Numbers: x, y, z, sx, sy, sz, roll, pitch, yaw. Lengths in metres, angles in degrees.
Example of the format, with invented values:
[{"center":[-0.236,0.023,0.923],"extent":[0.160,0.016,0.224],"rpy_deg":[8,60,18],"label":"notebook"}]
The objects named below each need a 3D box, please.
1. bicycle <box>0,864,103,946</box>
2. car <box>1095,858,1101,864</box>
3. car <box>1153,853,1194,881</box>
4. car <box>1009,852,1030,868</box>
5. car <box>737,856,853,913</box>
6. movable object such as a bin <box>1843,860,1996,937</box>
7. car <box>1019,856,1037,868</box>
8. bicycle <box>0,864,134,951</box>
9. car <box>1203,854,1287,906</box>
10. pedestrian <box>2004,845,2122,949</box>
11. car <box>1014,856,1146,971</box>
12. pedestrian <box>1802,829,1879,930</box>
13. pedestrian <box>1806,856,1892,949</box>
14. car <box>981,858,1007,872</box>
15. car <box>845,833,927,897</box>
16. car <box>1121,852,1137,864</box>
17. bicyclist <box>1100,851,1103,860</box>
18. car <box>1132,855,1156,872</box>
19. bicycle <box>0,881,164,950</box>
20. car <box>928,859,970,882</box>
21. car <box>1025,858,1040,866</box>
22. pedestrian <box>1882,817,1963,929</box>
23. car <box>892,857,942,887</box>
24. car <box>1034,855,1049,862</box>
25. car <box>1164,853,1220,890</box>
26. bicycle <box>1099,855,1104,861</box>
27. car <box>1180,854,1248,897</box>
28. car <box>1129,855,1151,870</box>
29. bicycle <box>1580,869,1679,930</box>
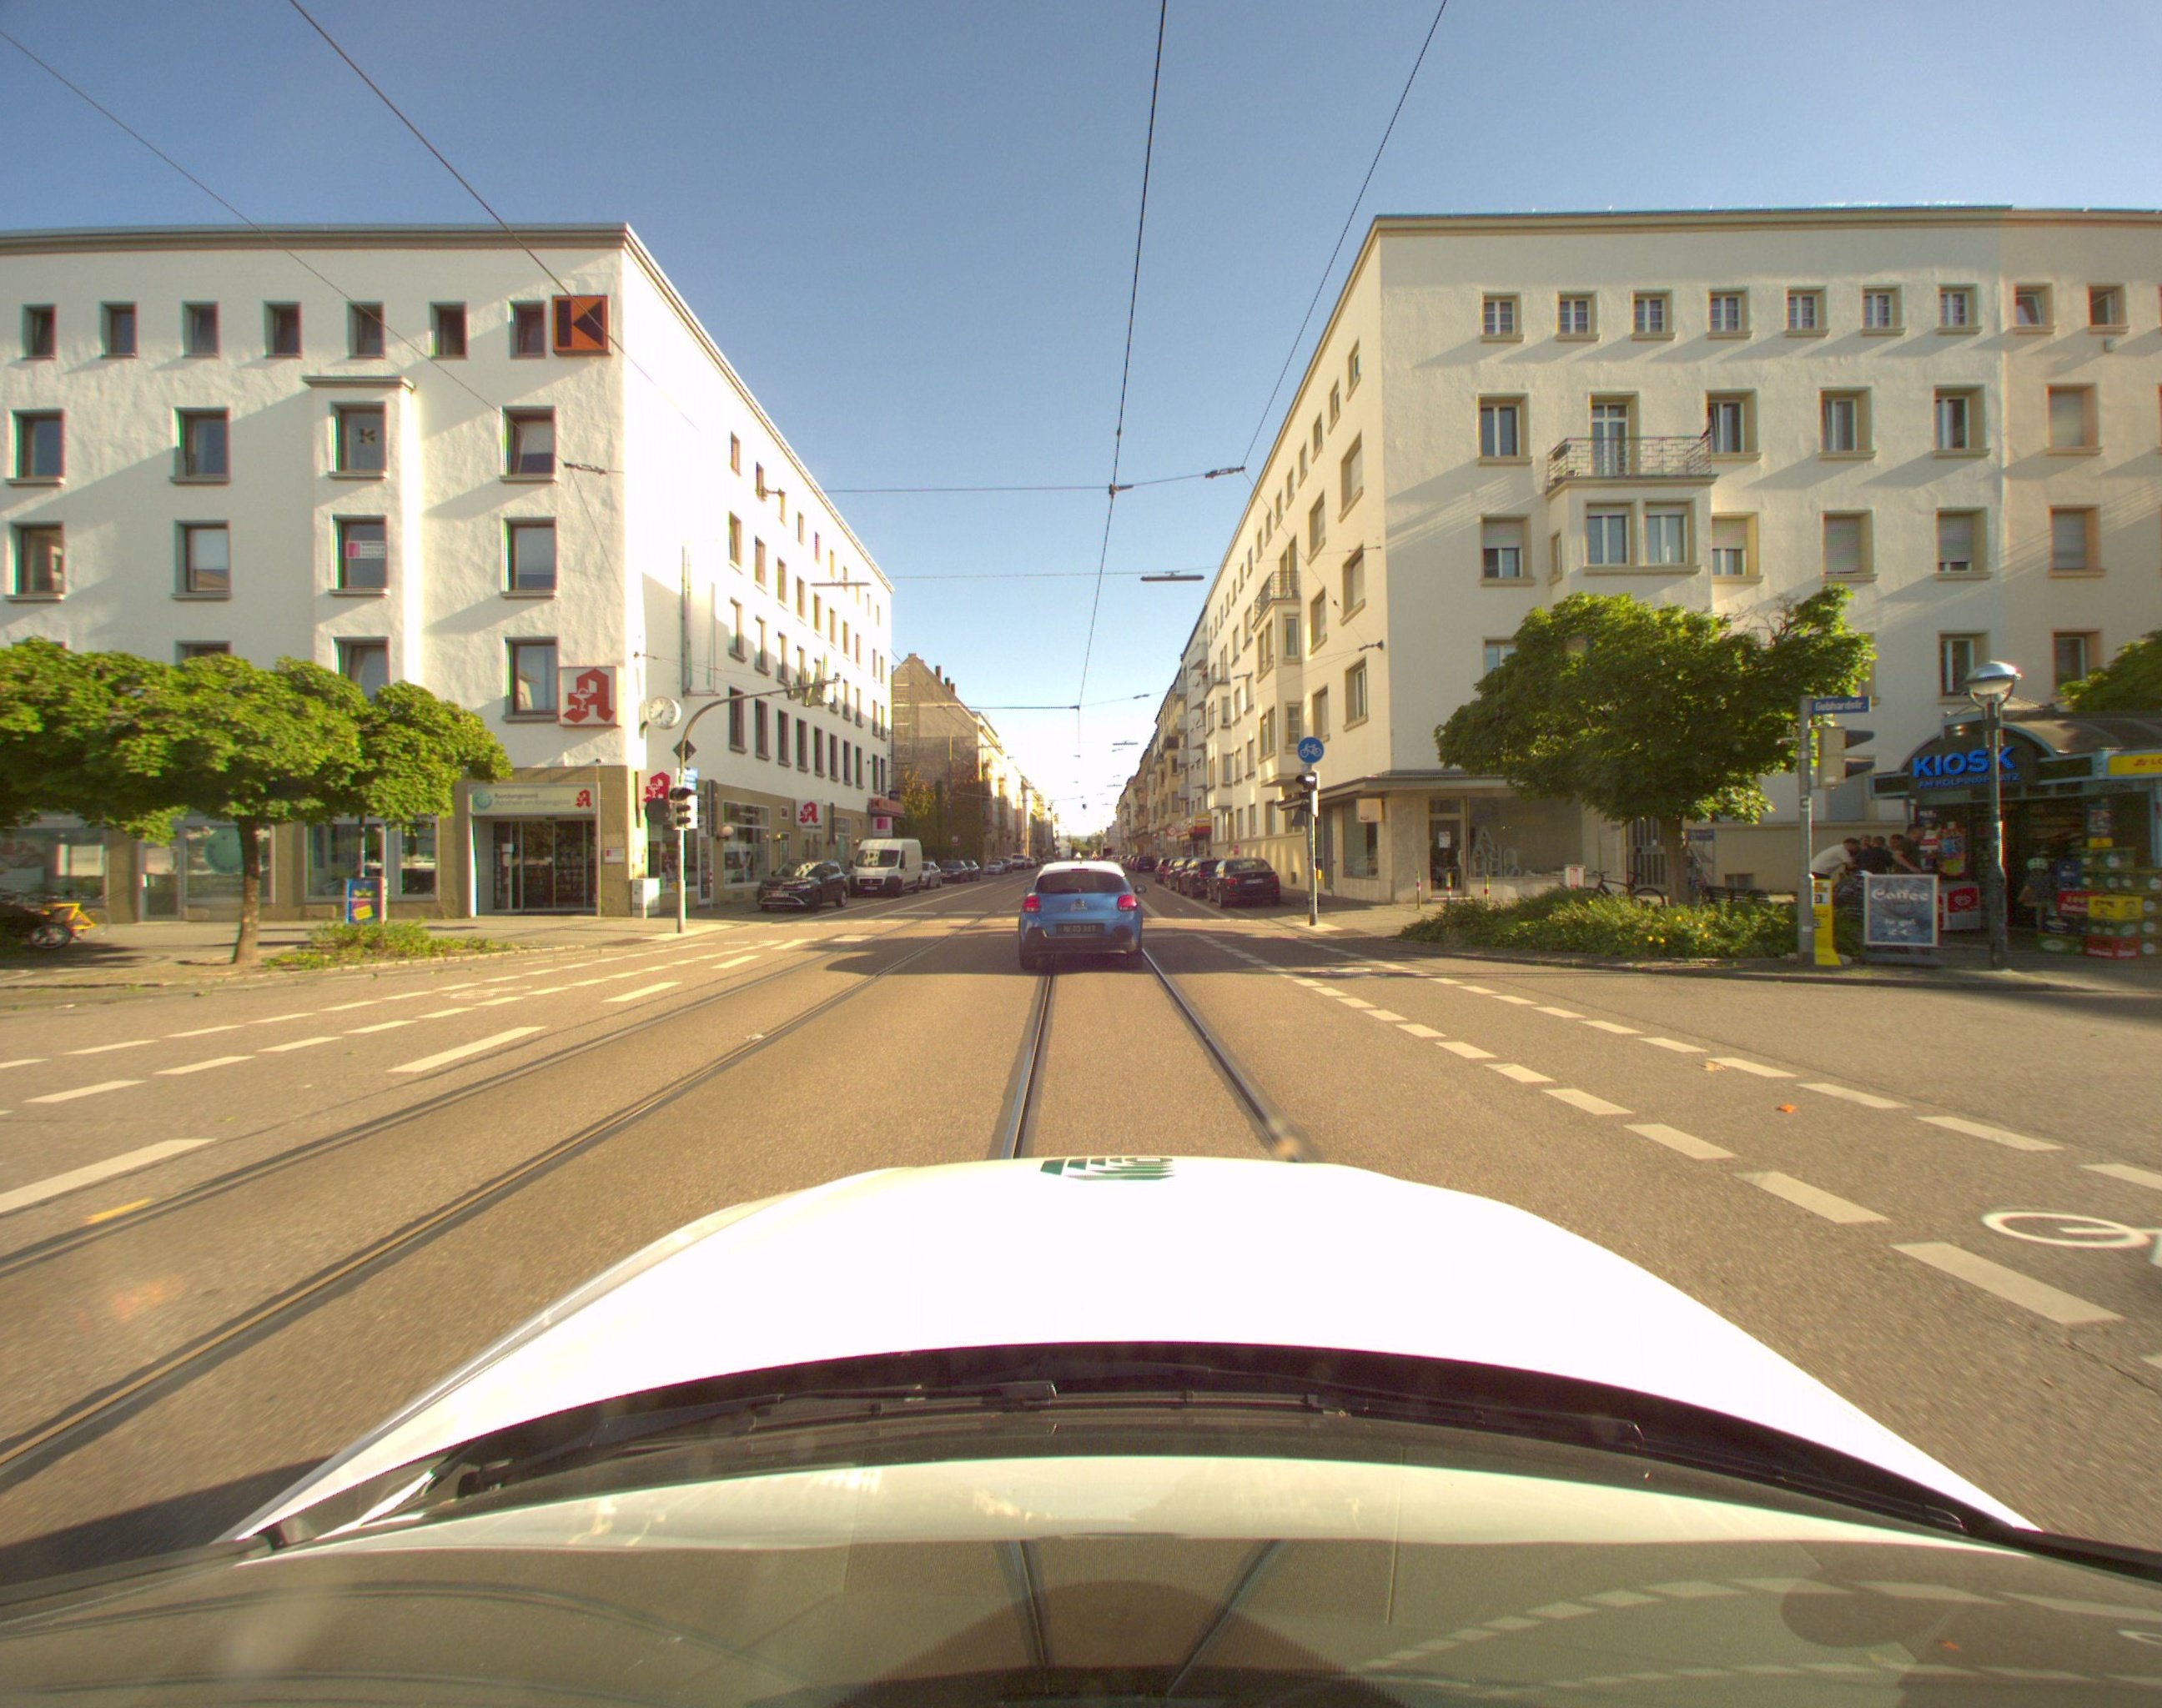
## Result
[{"center":[-21.600,1.024,16.419],"extent":[0.616,1.607,2.619],"rpy_deg":[-1,0,-1],"label":"bicycle"},{"center":[5.229,2.057,252.954],"extent":[1.986,1.772,4.001],"rpy_deg":[-1,0,1],"label":"car"},{"center":[5.143,0.730,45.836],"extent":[1.986,1.464,4.002],"rpy_deg":[-1,0,2],"label":"car"},{"center":[-7.508,0.753,99.989],"extent":[1.998,2.014,4.693],"rpy_deg":[0,-1,3],"label":"car"},{"center":[-8.786,0.887,25.454],"extent":[1.987,1.569,4.402],"rpy_deg":[2,-1,0],"label":"car"},{"center":[13.352,0.683,13.026],"extent":[1.194,1.153,1.218],"rpy_deg":[-1,0,2],"label":"movable object such as a bin"},{"center":[-7.229,1.065,110.659],"extent":[1.947,1.552,3.941],"rpy_deg":[0,-1,3],"label":"car"},{"center":[-20.911,1.047,16.303],"extent":[0.615,1.607,2.624],"rpy_deg":[-1,1,5],"label":"bicycle"},{"center":[5.027,0.759,25.467],"extent":[1.902,1.464,4.002],"rpy_deg":[-1,0,2],"label":"car"},{"center":[14.036,0.592,11.662],"extent":[0.727,1.409,0.755],"rpy_deg":[-1,3,1],"label":"pedestrian"},{"center":[0.023,0.782,12.500],"extent":[1.722,1.482,3.827],"rpy_deg":[0,0,1],"label":"car"},{"center":[14.197,0.464,15.238],"extent":[0.781,1.839,0.679],"rpy_deg":[-1,0,4],"label":"pedestrian"},{"center":[11.294,0.689,11.997],"extent":[0.733,1.316,0.631],"rpy_deg":[-1,-1,24],"label":"pedestrian"},{"center":[-8.163,1.024,76.320],"extent":[1.987,1.325,3.922],"rpy_deg":[0,-1,0],"label":"car"},{"center":[-8.425,0.447,35.816],"extent":[2.079,2.542,6.204],"rpy_deg":[0,0,0],"label":"car"},{"center":[6.233,0.544,106.079],"extent":[1.986,1.464,4.002],"rpy_deg":[-1,0,2],"label":"car"},{"center":[4.797,0.292,190.993],"extent":[0.805,2.014,0.924],"rpy_deg":[0,-1,6],"label":"bicyclist"},{"center":[5.779,0.822,74.931],"extent":[1.986,1.464,4.506],"rpy_deg":[-1,0,2],"label":"car"},{"center":[-20.187,1.183,16.269],"extent":[0.615,1.190,2.623],"rpy_deg":[-1,0,4],"label":"bicycle"},{"center":[-8.239,1.022,51.180],"extent":[1.987,1.398,4.156],"rpy_deg":[0,-1,0],"label":"car"},{"center":[-7.608,1.243,127.370],"extent":[1.986,1.156,4.002],"rpy_deg":[-1,0,2],"label":"car"},{"center":[14.249,0.317,13.808],"extent":[0.650,1.839,0.660],"rpy_deg":[-1,0,4],"label":"pedestrian"},{"center":[-8.492,0.939,42.385],"extent":[1.882,1.496,3.561],"rpy_deg":[0,-1,0],"label":"car"},{"center":[-7.592,0.871,157.899],"extent":[1.981,1.156,4.527],"rpy_deg":[-1,0,10],"label":"car"},{"center":[4.800,0.742,35.770],"extent":[1.986,1.501,4.002],"rpy_deg":[-1,0,2],"label":"car"},{"center":[4.815,0.865,190.841],"extent":[0.915,1.389,3.135],"rpy_deg":[-1,0,4],"label":"bicycle"},{"center":[4.914,0.766,30.641],"extent":[1.986,1.464,4.002],"rpy_deg":[-1,0,2],"label":"car"},{"center":[5.968,0.886,82.635],"extent":[1.986,1.464,4.002],"rpy_deg":[-1,0,2],"label":"car"},{"center":[10.365,0.852,15.413],"extent":[1.557,1.120,0.301],"rpy_deg":[0,-1,11],"label":"bicycle"}]
